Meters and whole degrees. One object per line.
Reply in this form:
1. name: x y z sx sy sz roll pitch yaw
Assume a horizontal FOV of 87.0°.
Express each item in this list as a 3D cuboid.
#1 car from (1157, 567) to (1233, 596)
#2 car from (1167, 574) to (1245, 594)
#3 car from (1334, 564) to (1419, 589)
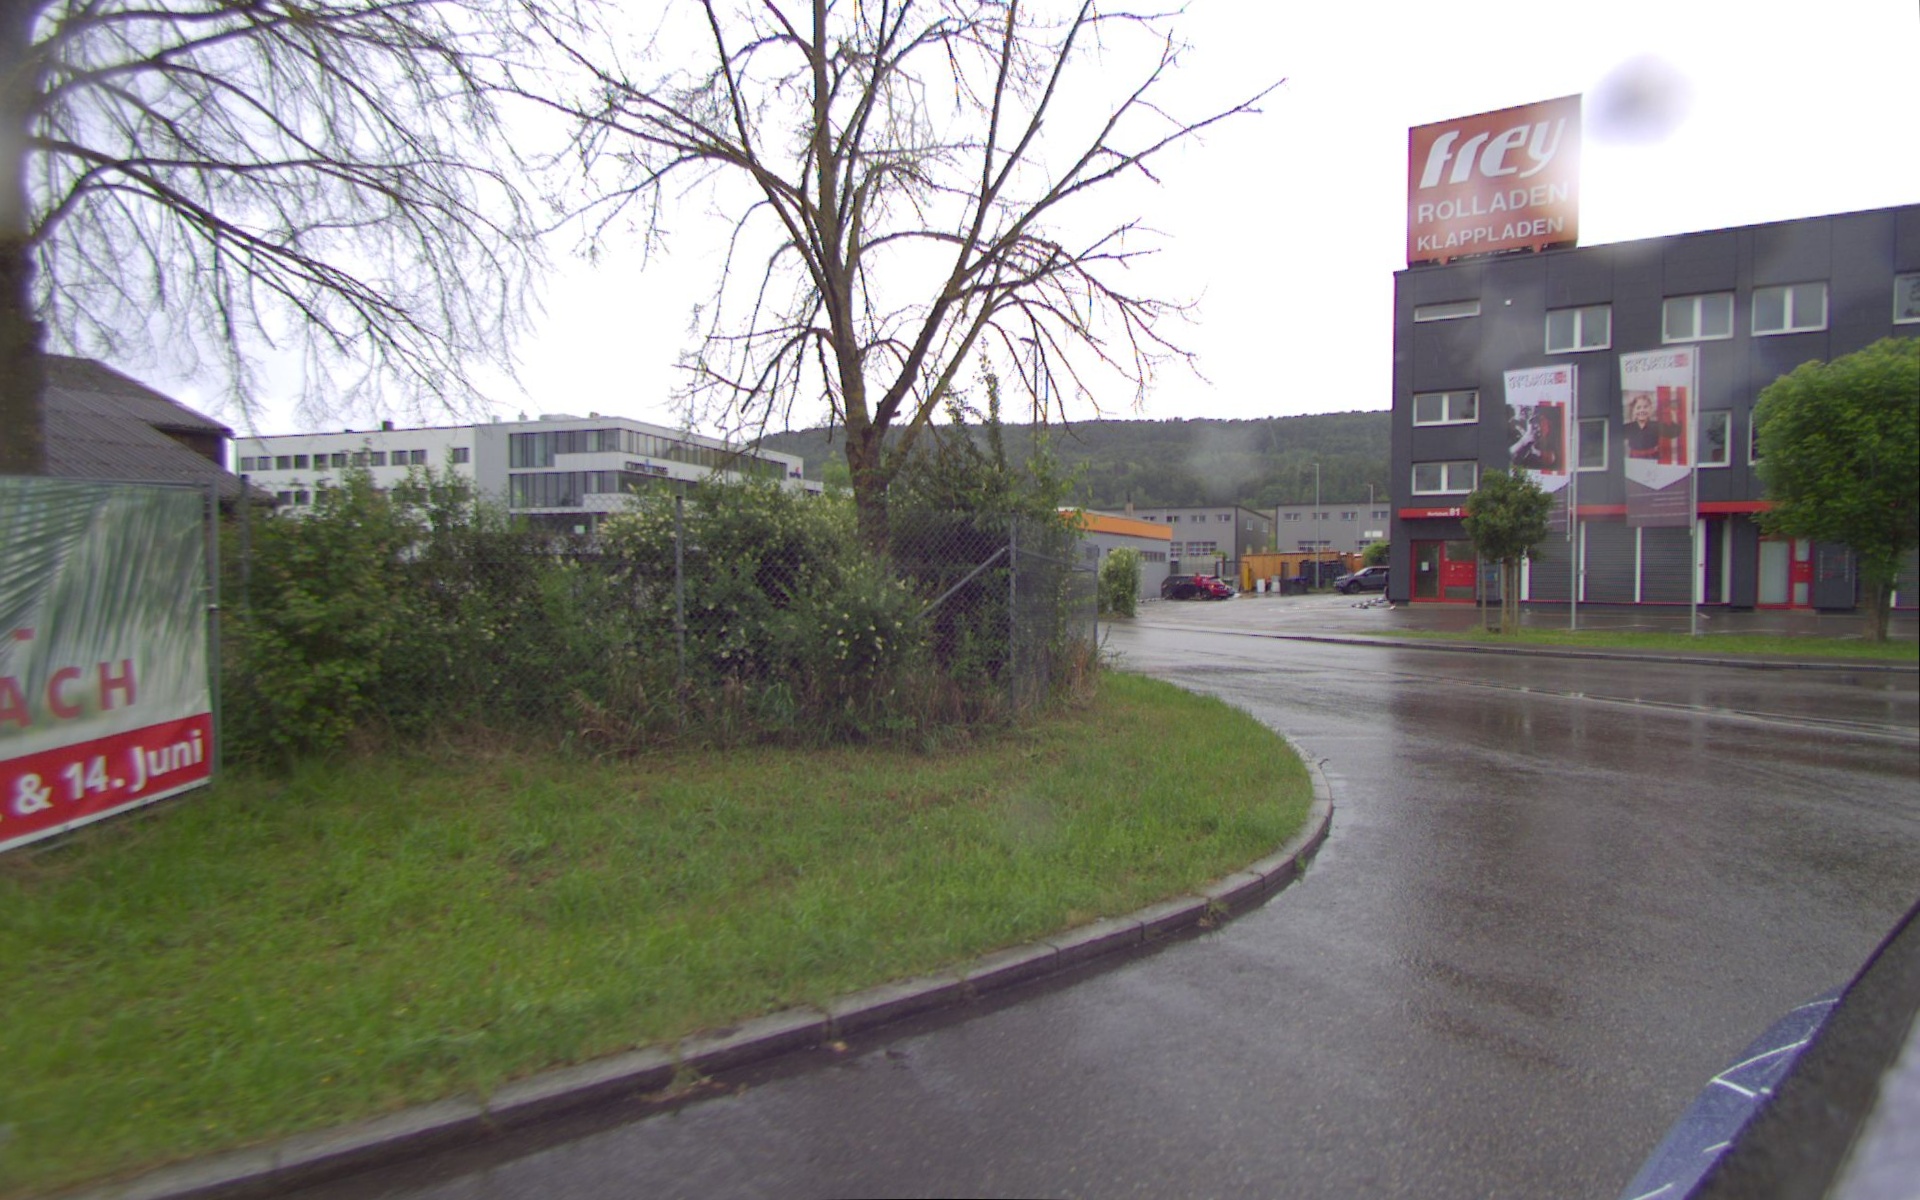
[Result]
1. car: 13.593 -1.090 58.701 1.892 1.594 3.992 -1 1 -43
2. car: 14.794 -0.982 60.997 4.178 1.175 1.905 1 1 41
3. car: 23.870 -1.326 58.119 4.126 1.404 1.996 0 1 8
